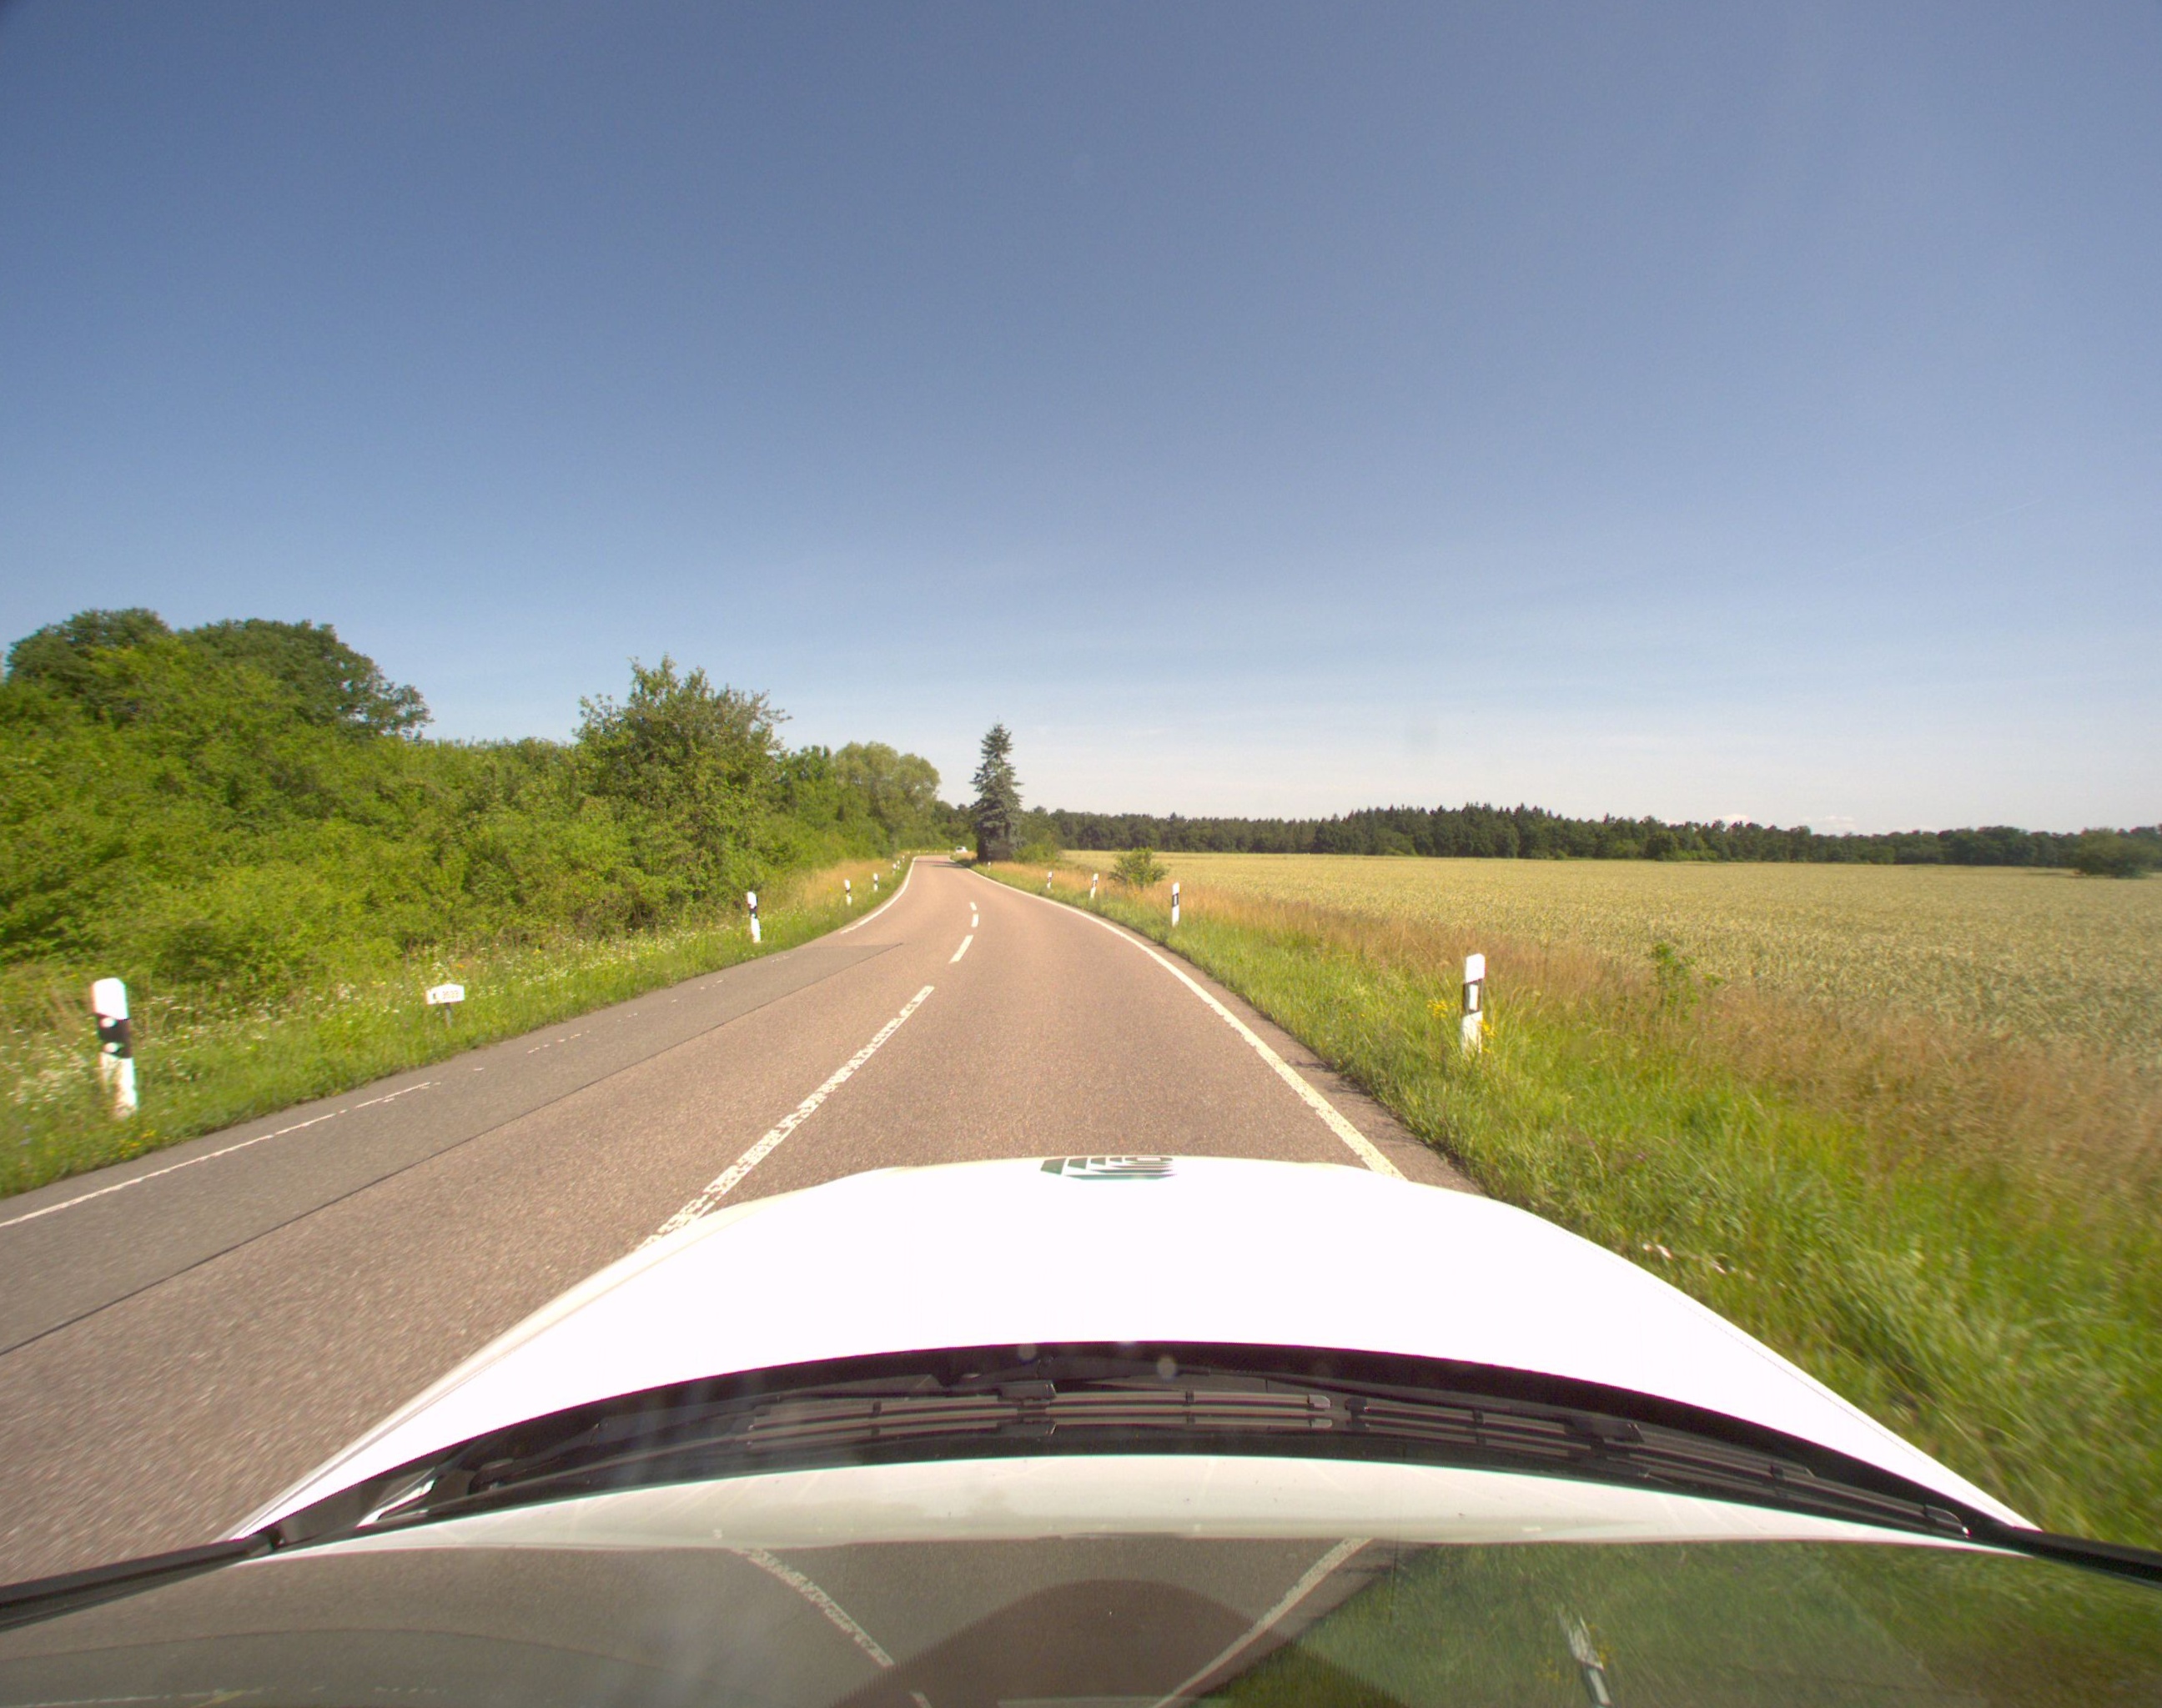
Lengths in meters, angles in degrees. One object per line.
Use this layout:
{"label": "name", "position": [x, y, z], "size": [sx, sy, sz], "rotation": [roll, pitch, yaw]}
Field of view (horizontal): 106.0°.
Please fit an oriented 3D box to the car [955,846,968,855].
{"label": "car", "position": [-25.634, -0.716, 175.167], "size": [1.955, 1.802, 4.163], "rotation": [3, 1, 2]}
